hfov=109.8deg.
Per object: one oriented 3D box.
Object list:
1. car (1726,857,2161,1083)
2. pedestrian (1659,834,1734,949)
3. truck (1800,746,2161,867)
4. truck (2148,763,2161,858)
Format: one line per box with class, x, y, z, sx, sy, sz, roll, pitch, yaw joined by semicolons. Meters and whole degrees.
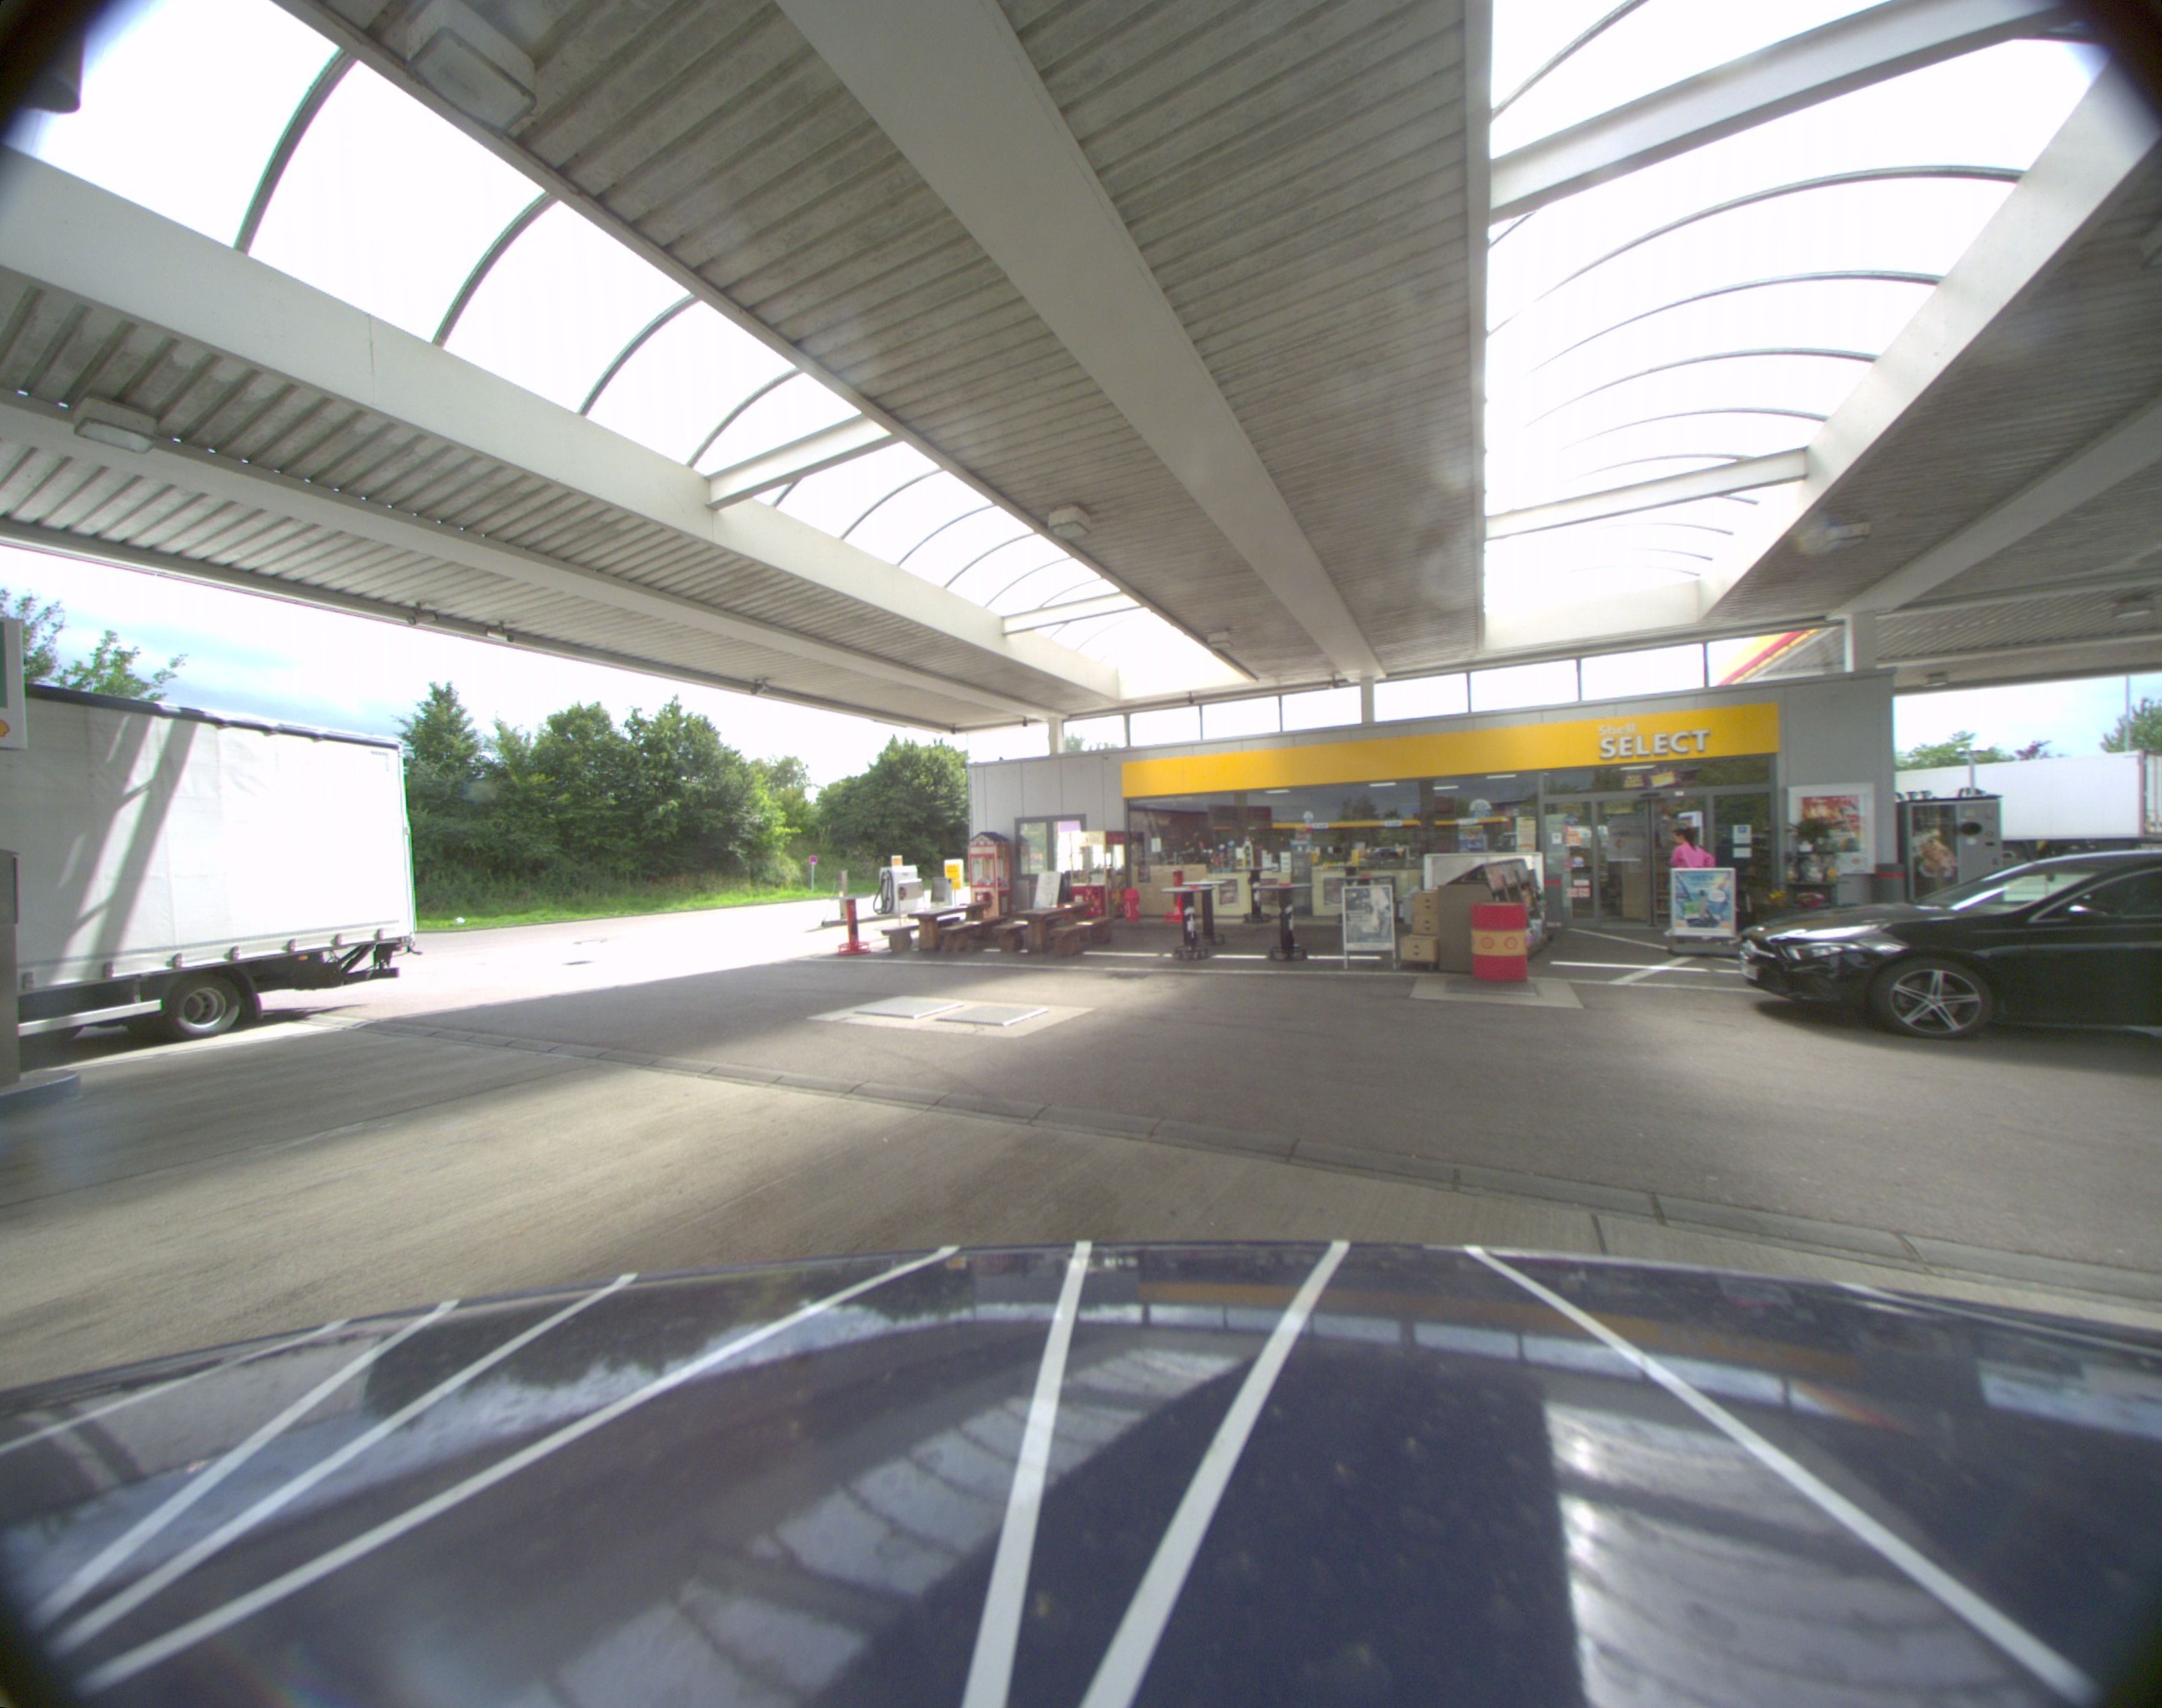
car;8.132;0.810;5.910;4.461;1.491;1.782;-2;1;28
pedestrian;9.409;0.555;11.637;0.626;1.703;0.623;-2;1;7
truck;35.134;-1.620;30.072;2.796;3.982;9.578;-3;1;-16
truck;51.482;-2.048;33.153;3.383;4.479;6.239;-2;1;29
